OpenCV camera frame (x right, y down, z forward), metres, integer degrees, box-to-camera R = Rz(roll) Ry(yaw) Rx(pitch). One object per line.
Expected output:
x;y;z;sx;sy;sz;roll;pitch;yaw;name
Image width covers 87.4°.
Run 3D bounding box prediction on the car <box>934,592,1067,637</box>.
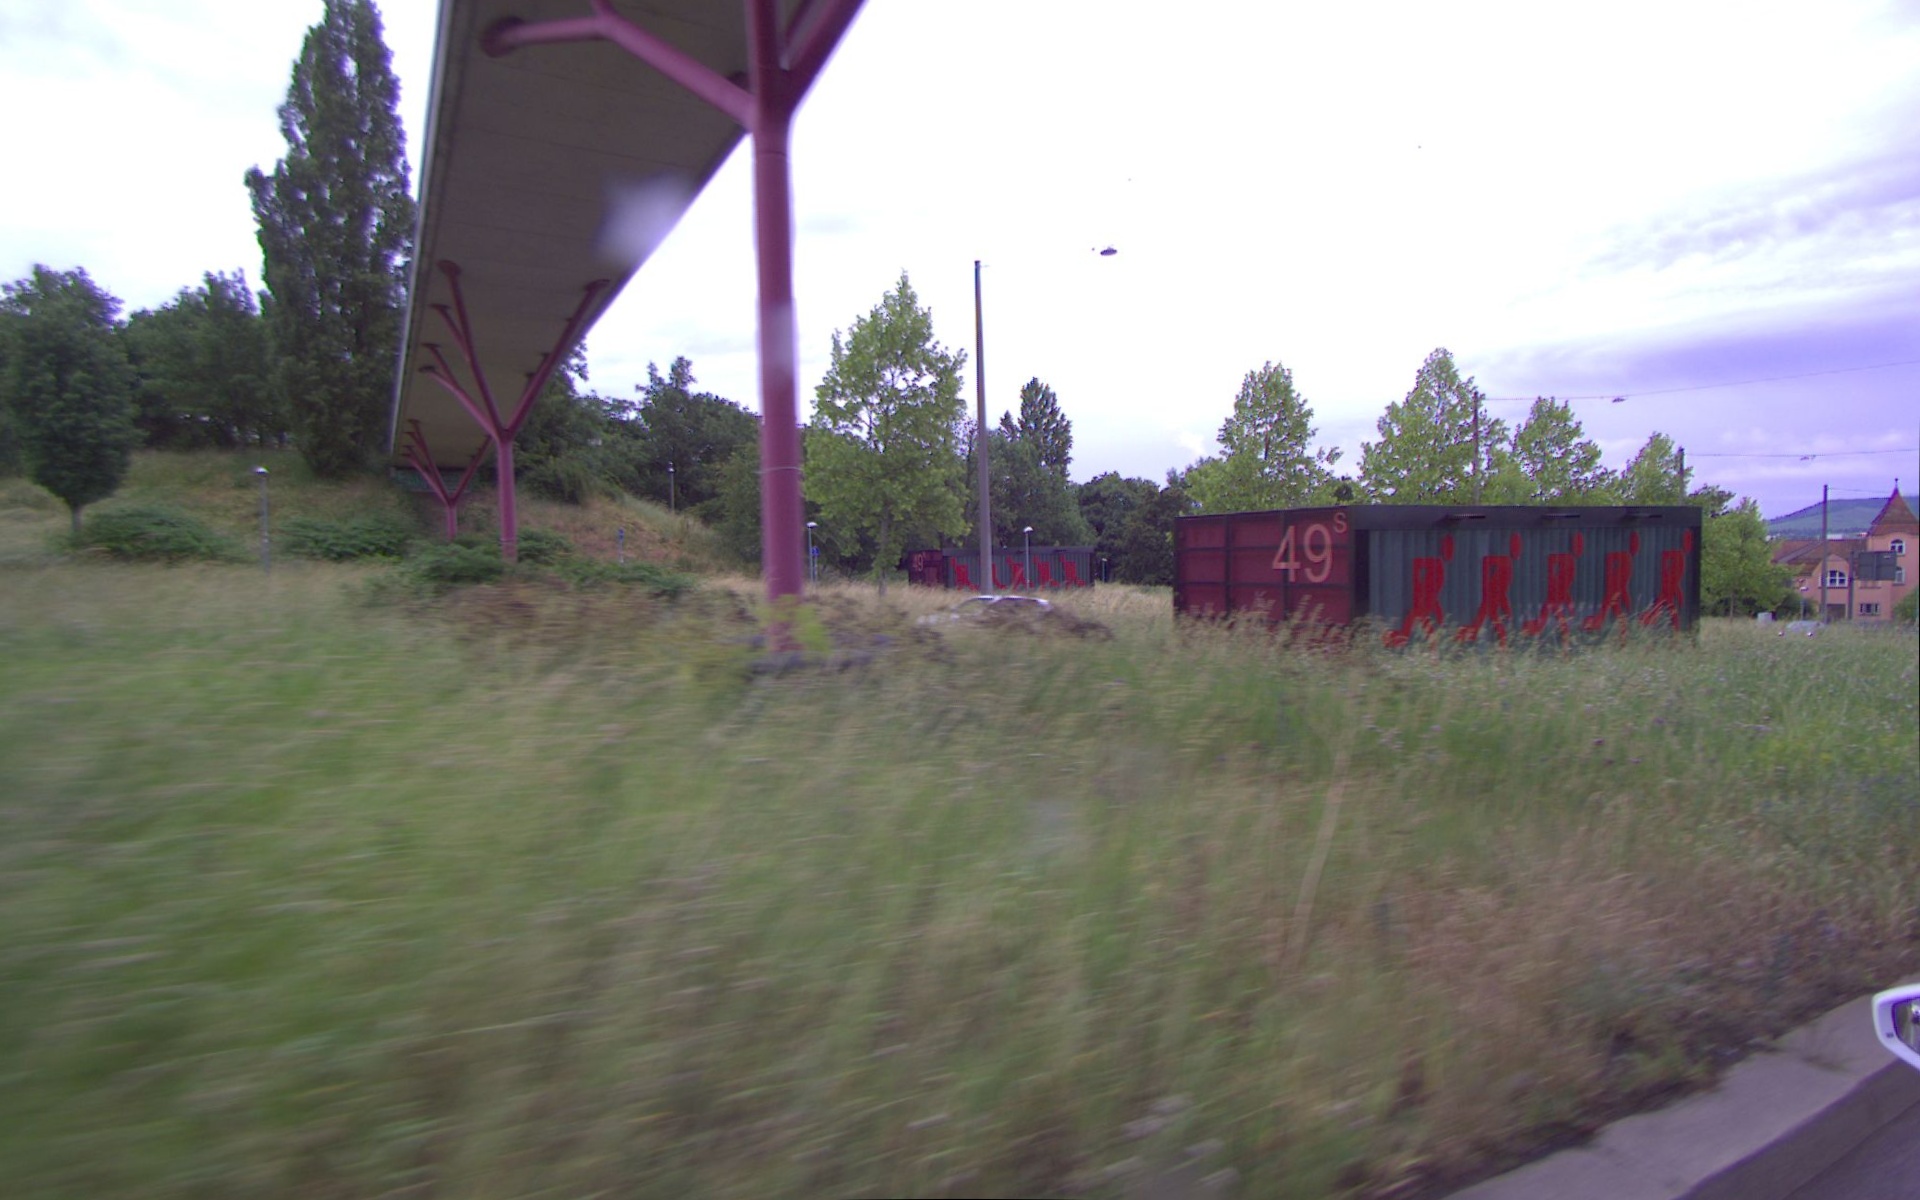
1.009;0.363;24.824;3.047;0.957;1.260;2;3;-28;car
